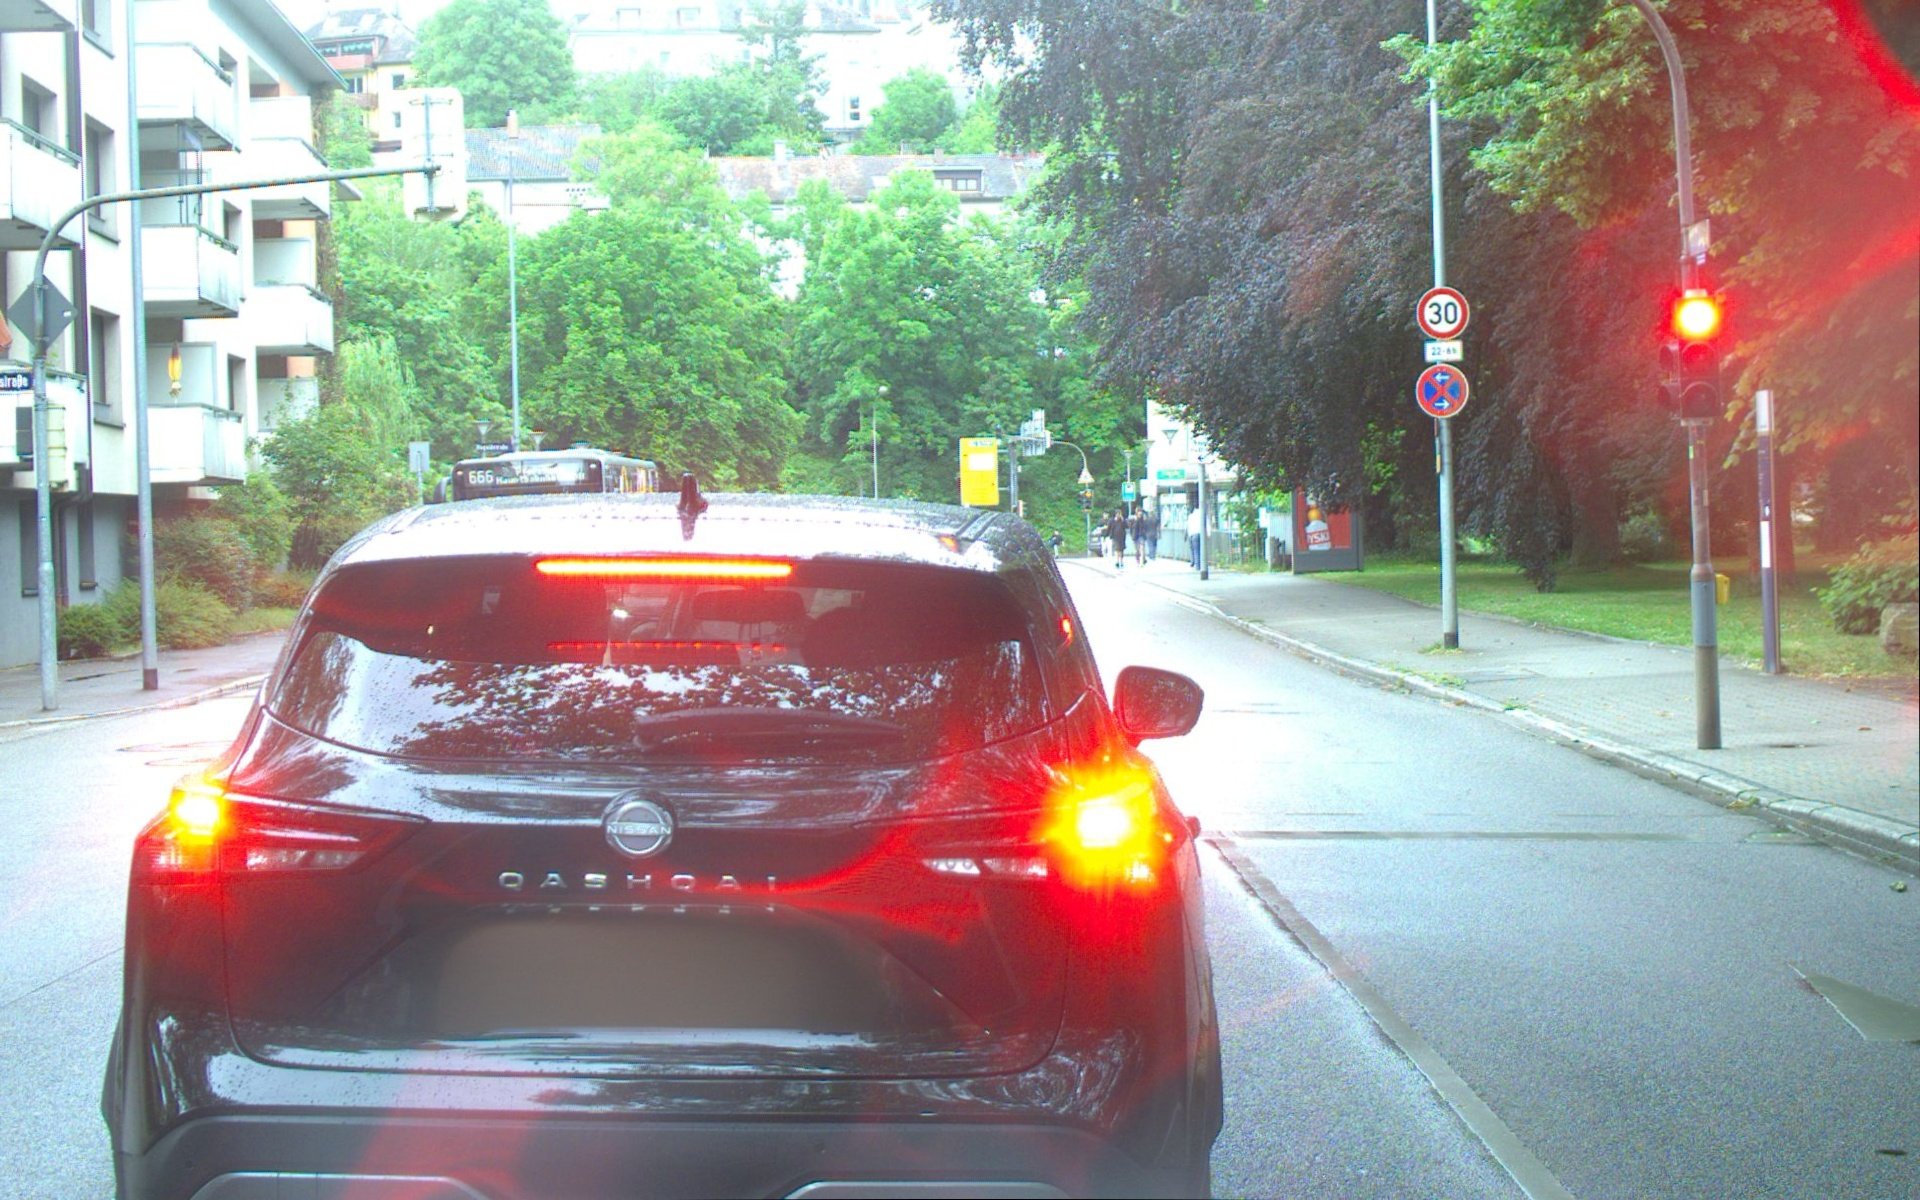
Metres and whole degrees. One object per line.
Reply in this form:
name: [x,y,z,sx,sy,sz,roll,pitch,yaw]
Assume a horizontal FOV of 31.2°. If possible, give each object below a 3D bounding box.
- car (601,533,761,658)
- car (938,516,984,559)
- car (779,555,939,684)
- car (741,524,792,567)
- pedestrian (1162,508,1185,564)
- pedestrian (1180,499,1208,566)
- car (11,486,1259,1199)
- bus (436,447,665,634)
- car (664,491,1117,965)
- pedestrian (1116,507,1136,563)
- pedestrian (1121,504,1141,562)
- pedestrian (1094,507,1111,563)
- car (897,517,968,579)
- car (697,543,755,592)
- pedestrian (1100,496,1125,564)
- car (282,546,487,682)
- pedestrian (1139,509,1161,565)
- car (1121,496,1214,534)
car: [-3.391,-0.081,42.281,1.624,1.410,3.455,-2,1,0]
car: [0.041,-2.523,138.530,1.750,1.628,3.635,-2,1,0]
car: [-1.208,0.196,40.993,1.808,1.412,4.031,0,1,-2]
car: [-7.622,-2.164,135.638,1.750,1.628,3.635,-2,1,0]
pedestrian: [6.912,-2.078,111.207,0.618,1.773,0.551,-2,1,-1]
pedestrian: [6.337,-1.831,93.029,0.618,1.773,0.778,-2,1,-1]
car: [-0.500,0.618,7.019,1.806,1.584,4.000,1,1,-1]
bus: [-7.160,-1.070,61.839,2.766,2.964,11.782,-2,1,-1]
car: [-0.225,0.438,14.670,1.622,1.703,3.771,-2,1,1]
pedestrian: [4.884,-1.902,101.285,0.544,1.645,0.490,1,0,0]
pedestrian: [4.942,-1.943,99.561,0.514,1.650,0.550,1,0,-1]
pedestrian: [4.204,-1.912,101.280,0.475,1.645,0.490,1,0,0]
car: [-0.652,-1.263,83.166,1.624,1.410,3.455,-2,1,0]
car: [-7.665,-1.091,112.705,1.676,1.464,4.217,-3,1,-2]
pedestrian: [4.949,-2.278,111.689,0.768,2.176,0.711,1,0,3]
car: [-6.791,0.126,40.936,1.808,1.412,4.031,-3,1,-2]
pedestrian: [6.104,-2.038,110.554,0.618,1.773,0.551,-2,1,-1]
car: [9.903,-4.072,164.321,3.986,1.678,2.001,-2,1,-10]
